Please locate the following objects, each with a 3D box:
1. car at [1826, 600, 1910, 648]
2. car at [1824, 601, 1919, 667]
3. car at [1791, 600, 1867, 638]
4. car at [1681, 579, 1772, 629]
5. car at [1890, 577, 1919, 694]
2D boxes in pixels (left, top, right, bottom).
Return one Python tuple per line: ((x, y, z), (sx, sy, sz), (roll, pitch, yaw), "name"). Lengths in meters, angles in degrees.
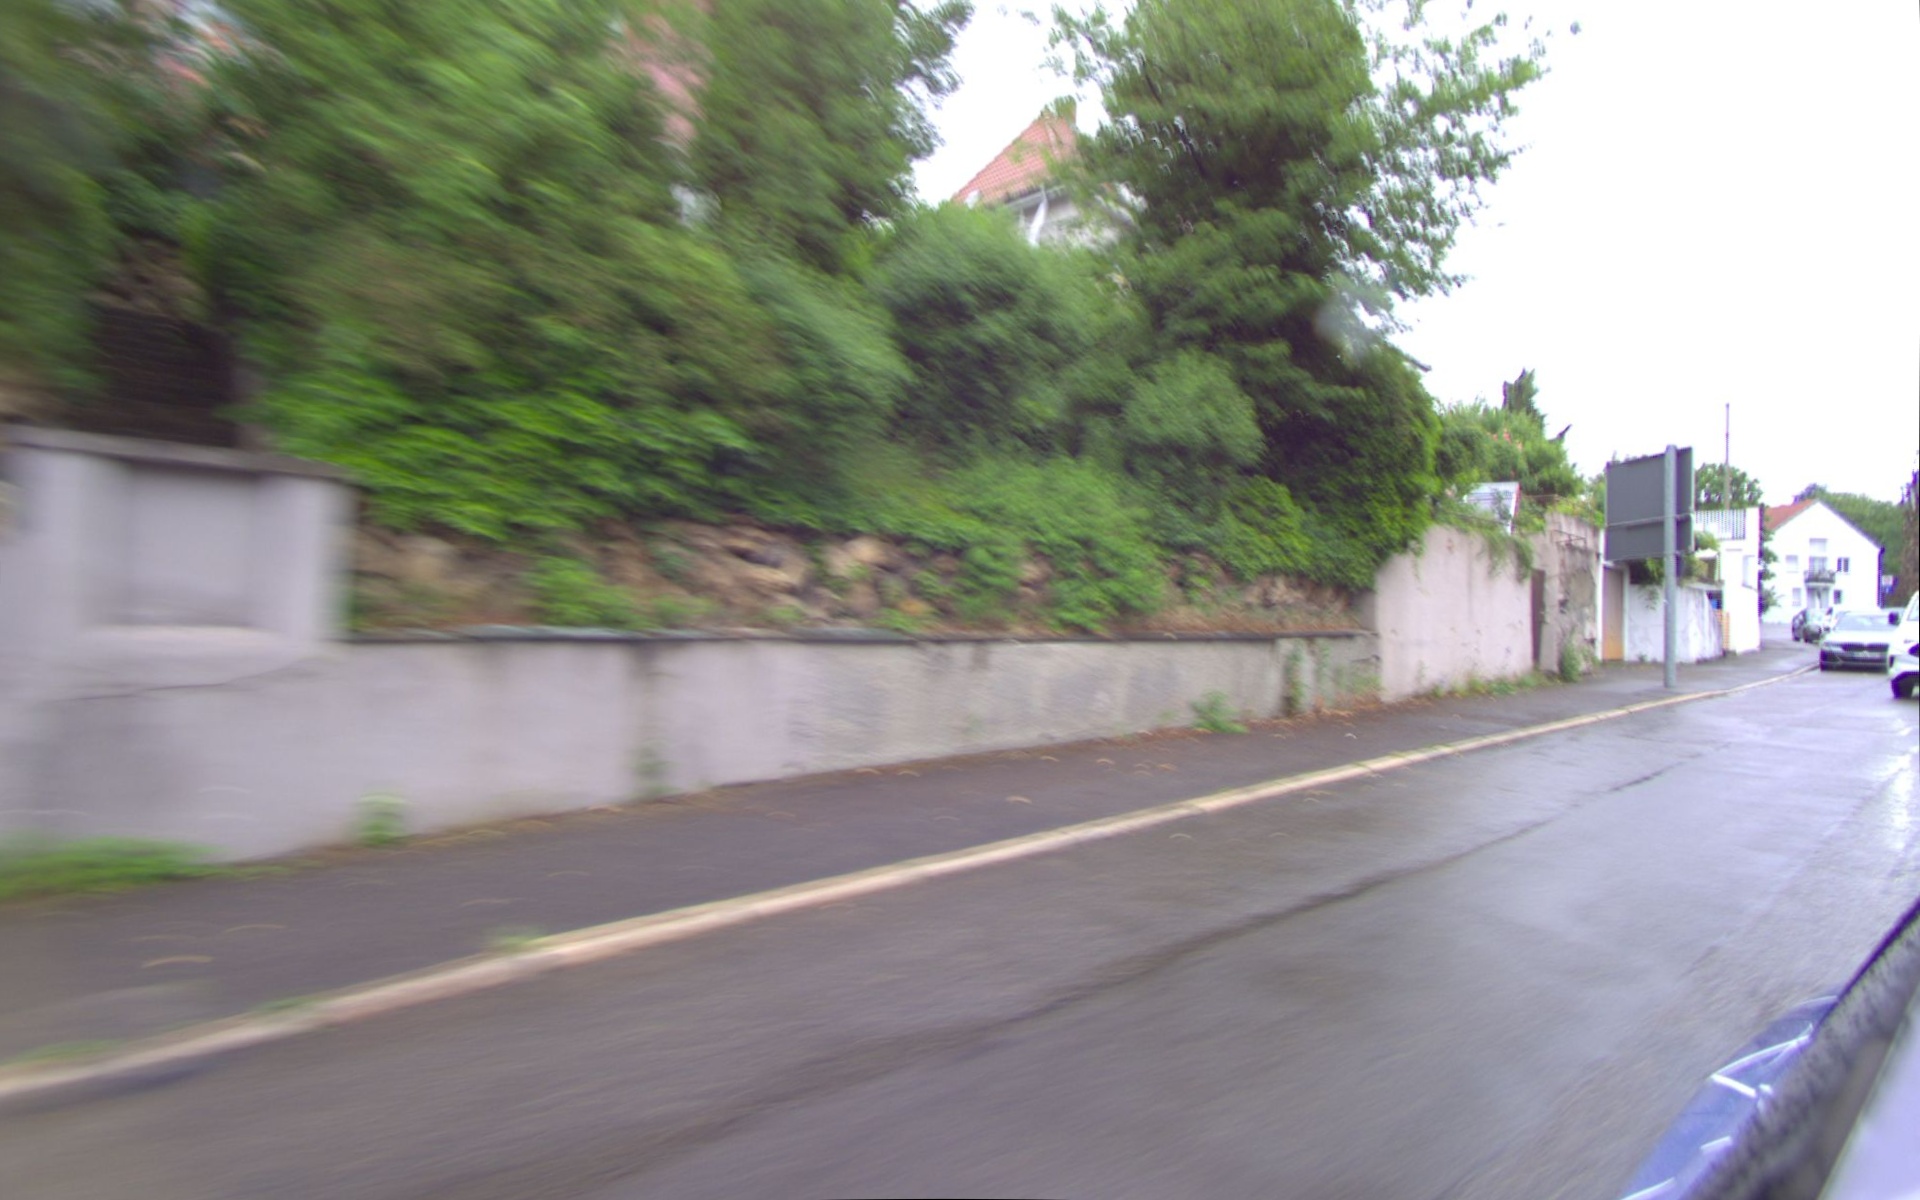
((33.606, 0.860, 37.566), (1.797, 1.670, 4.157), (-1, 0, 35), "car")
((23.494, 0.808, 25.774), (4.628, 1.515, 1.790), (0, -1, -44), "car")
((36.495, 0.774, 42.596), (1.670, 1.502, 4.156), (-1, 0, 31), "car")
((42.605, 0.145, 56.445), (2.076, 2.574, 5.592), (2, 1, 16), "car")
((18.265, 0.575, 17.702), (4.430, 1.964, 2.042), (0, -2, -36), "car")
